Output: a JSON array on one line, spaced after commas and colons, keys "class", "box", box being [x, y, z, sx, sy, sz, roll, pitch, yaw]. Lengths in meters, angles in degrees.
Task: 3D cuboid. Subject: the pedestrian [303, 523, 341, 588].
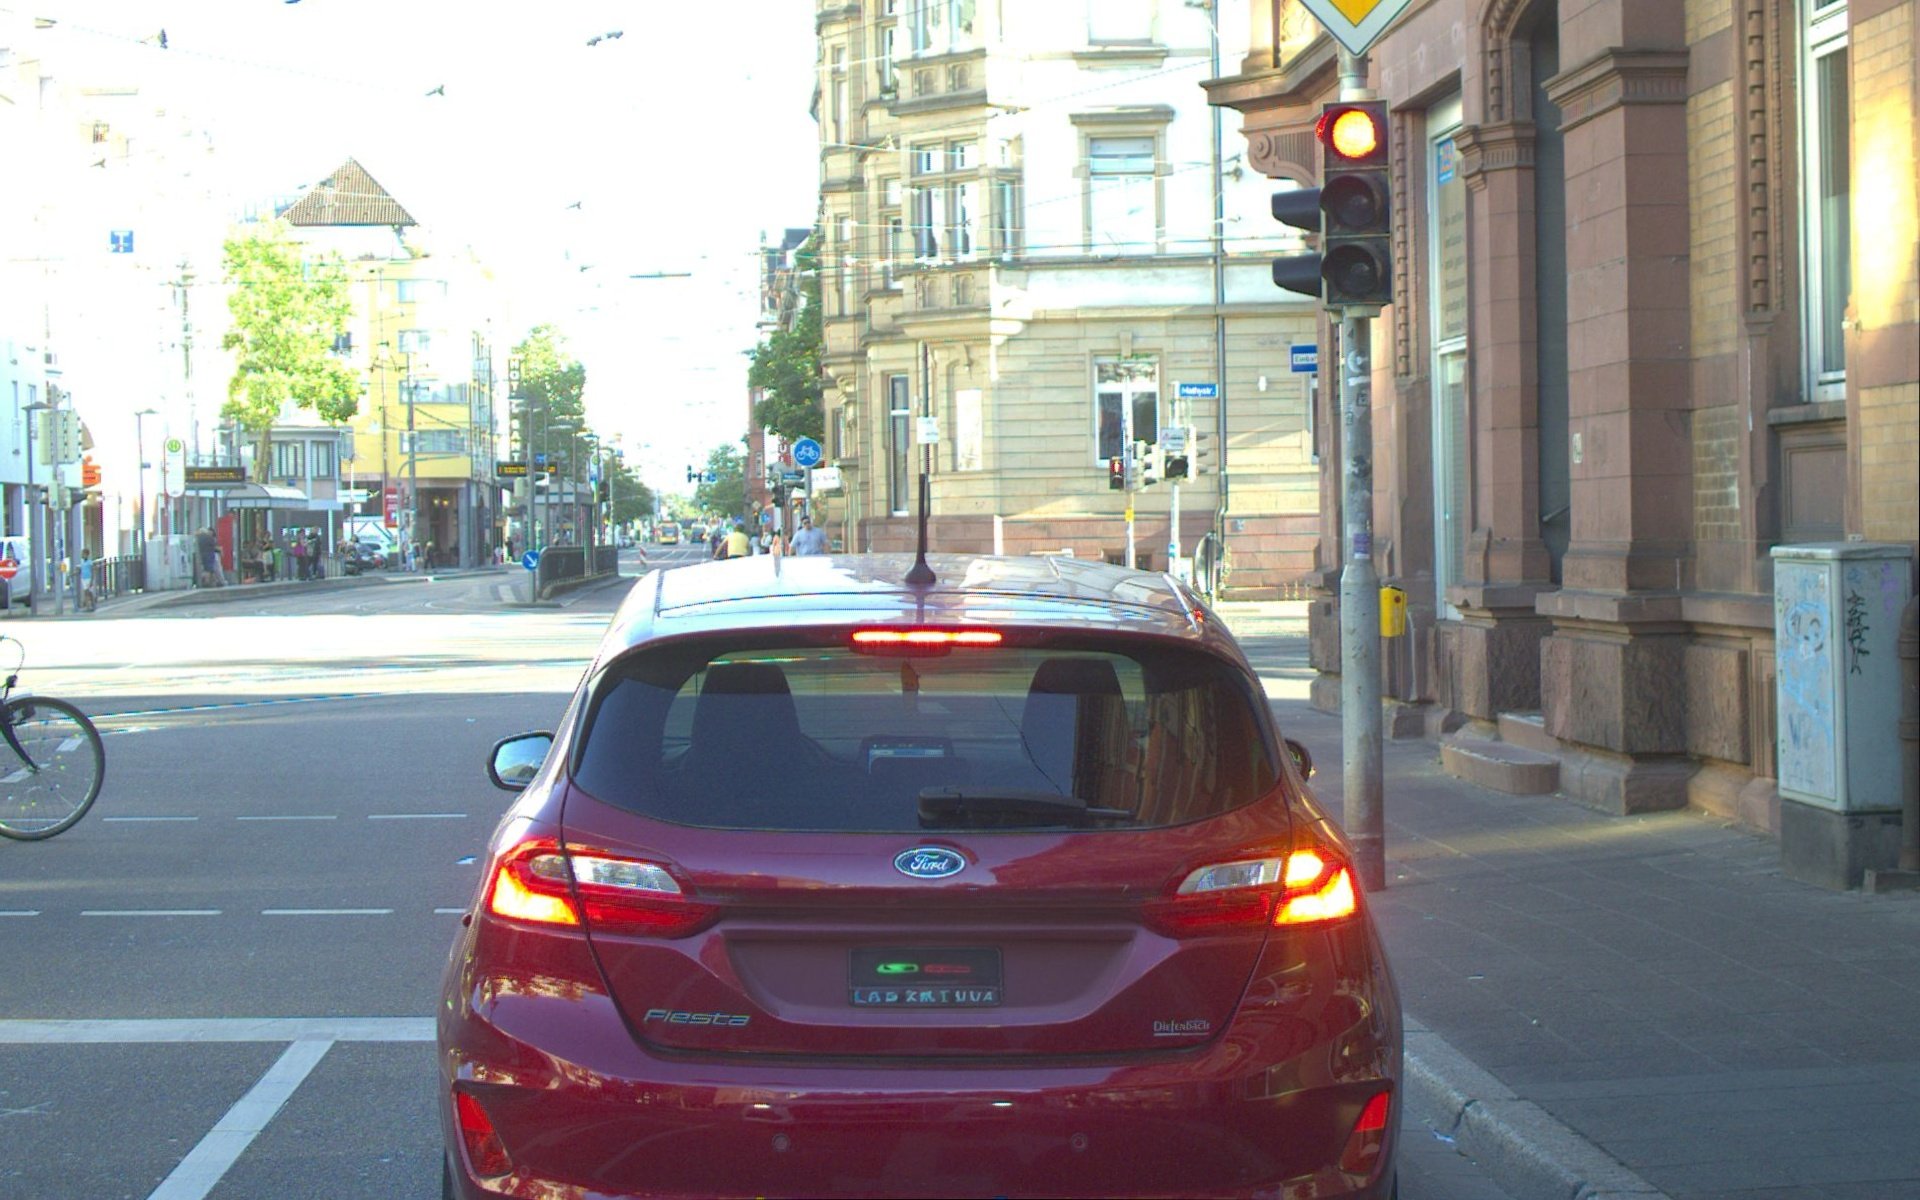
[{"class": "pedestrian", "box": [-19.815, -1.383, 106.814, 1.045, 2.007, 0.959, -1, 1, -6]}]

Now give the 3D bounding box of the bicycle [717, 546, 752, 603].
[{"class": "bicycle", "box": [-4.432, -0.507, 67.476, 0.526, 1.085, 1.487, -1, 1, -10]}]

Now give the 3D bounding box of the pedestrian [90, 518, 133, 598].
[{"class": "pedestrian", "box": [-18.279, -0.906, 74.103, 0.768, 1.724, 0.573, -1, 1, -1]}]

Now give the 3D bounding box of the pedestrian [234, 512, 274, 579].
[{"class": "pedestrian", "box": [-21.368, -1.662, 104.085, 1.045, 2.007, 0.959, -1, 1, -6]}]

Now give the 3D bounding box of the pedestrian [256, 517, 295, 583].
[{"class": "pedestrian", "box": [-21.142, -1.545, 106.180, 1.045, 2.007, 0.959, -1, 1, -6]}]

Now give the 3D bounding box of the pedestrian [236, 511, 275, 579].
[{"class": "pedestrian", "box": [-20.894, -1.634, 101.982, 0.956, 2.007, 1.049, -1, 1, -3]}]

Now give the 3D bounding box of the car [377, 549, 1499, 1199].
[{"class": "car", "box": [-0.212, 0.637, 7.344, 1.754, 1.461, 3.946, 0, 1, -5]}]

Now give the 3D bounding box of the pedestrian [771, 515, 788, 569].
[{"class": "pedestrian", "box": [-6.848, -2.204, 130.400, 0.577, 2.007, 0.631, -1, 1, 3]}]

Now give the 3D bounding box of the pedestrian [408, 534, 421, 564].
[{"class": "pedestrian", "box": [-26.578, -2.491, 167.597, 0.524, 1.483, 0.583, -1, 1, -1]}]

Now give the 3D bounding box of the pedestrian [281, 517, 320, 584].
[{"class": "pedestrian", "box": [-20.014, -1.510, 104.289, 1.045, 2.007, 0.959, -1, 1, -6]}]

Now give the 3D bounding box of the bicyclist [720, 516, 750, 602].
[{"class": "bicyclist", "box": [-4.412, -0.805, 67.297, 0.499, 1.670, 0.545, -1, 1, -10]}]

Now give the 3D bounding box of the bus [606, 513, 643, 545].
[{"class": "bus", "box": [-21.299, -4.512, 218.418, 1.925, 2.007, 7.138, -1, 1, -2]}]

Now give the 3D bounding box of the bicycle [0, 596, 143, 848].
[{"class": "bicycle", "box": [-4.947, 0.570, 16.288, 2.017, 1.173, 0.628, 0, 1, -22]}]

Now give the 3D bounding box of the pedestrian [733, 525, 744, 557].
[{"class": "pedestrian", "box": [-13.160, -3.507, 204.324, 0.577, 1.880, 0.670, -1, 1, -3]}]

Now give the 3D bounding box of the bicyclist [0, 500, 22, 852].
[{"class": "bicyclist", "box": [-4.812, 0.343, 16.076, 0.729, 1.621, 0.766, 0, 1, -22]}]

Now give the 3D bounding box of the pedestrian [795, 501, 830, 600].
[{"class": "pedestrian", "box": [-3.043, -1.025, 70.852, 0.651, 2.007, 0.760, -1, 1, -4]}]

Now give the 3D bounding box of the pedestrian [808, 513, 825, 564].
[{"class": "pedestrian", "box": [-5.675, -2.442, 135.938, 0.577, 2.007, 0.631, -1, 1, 3]}]

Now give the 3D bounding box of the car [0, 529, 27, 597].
[{"class": "car", "box": [-25.269, -0.948, 88.574, 1.701, 1.712, 3.565, -1, 1, -4]}]

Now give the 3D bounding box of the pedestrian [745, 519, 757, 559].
[{"class": "pedestrian", "box": [-10.558, -3.063, 173.584, 0.577, 2.007, 0.631, -1, 1, -3]}]

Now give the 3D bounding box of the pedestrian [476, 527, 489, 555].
[{"class": "pedestrian", "box": [-27.471, -3.403, 197.882, 0.628, 1.599, 0.579, -1, 1, -20]}]
